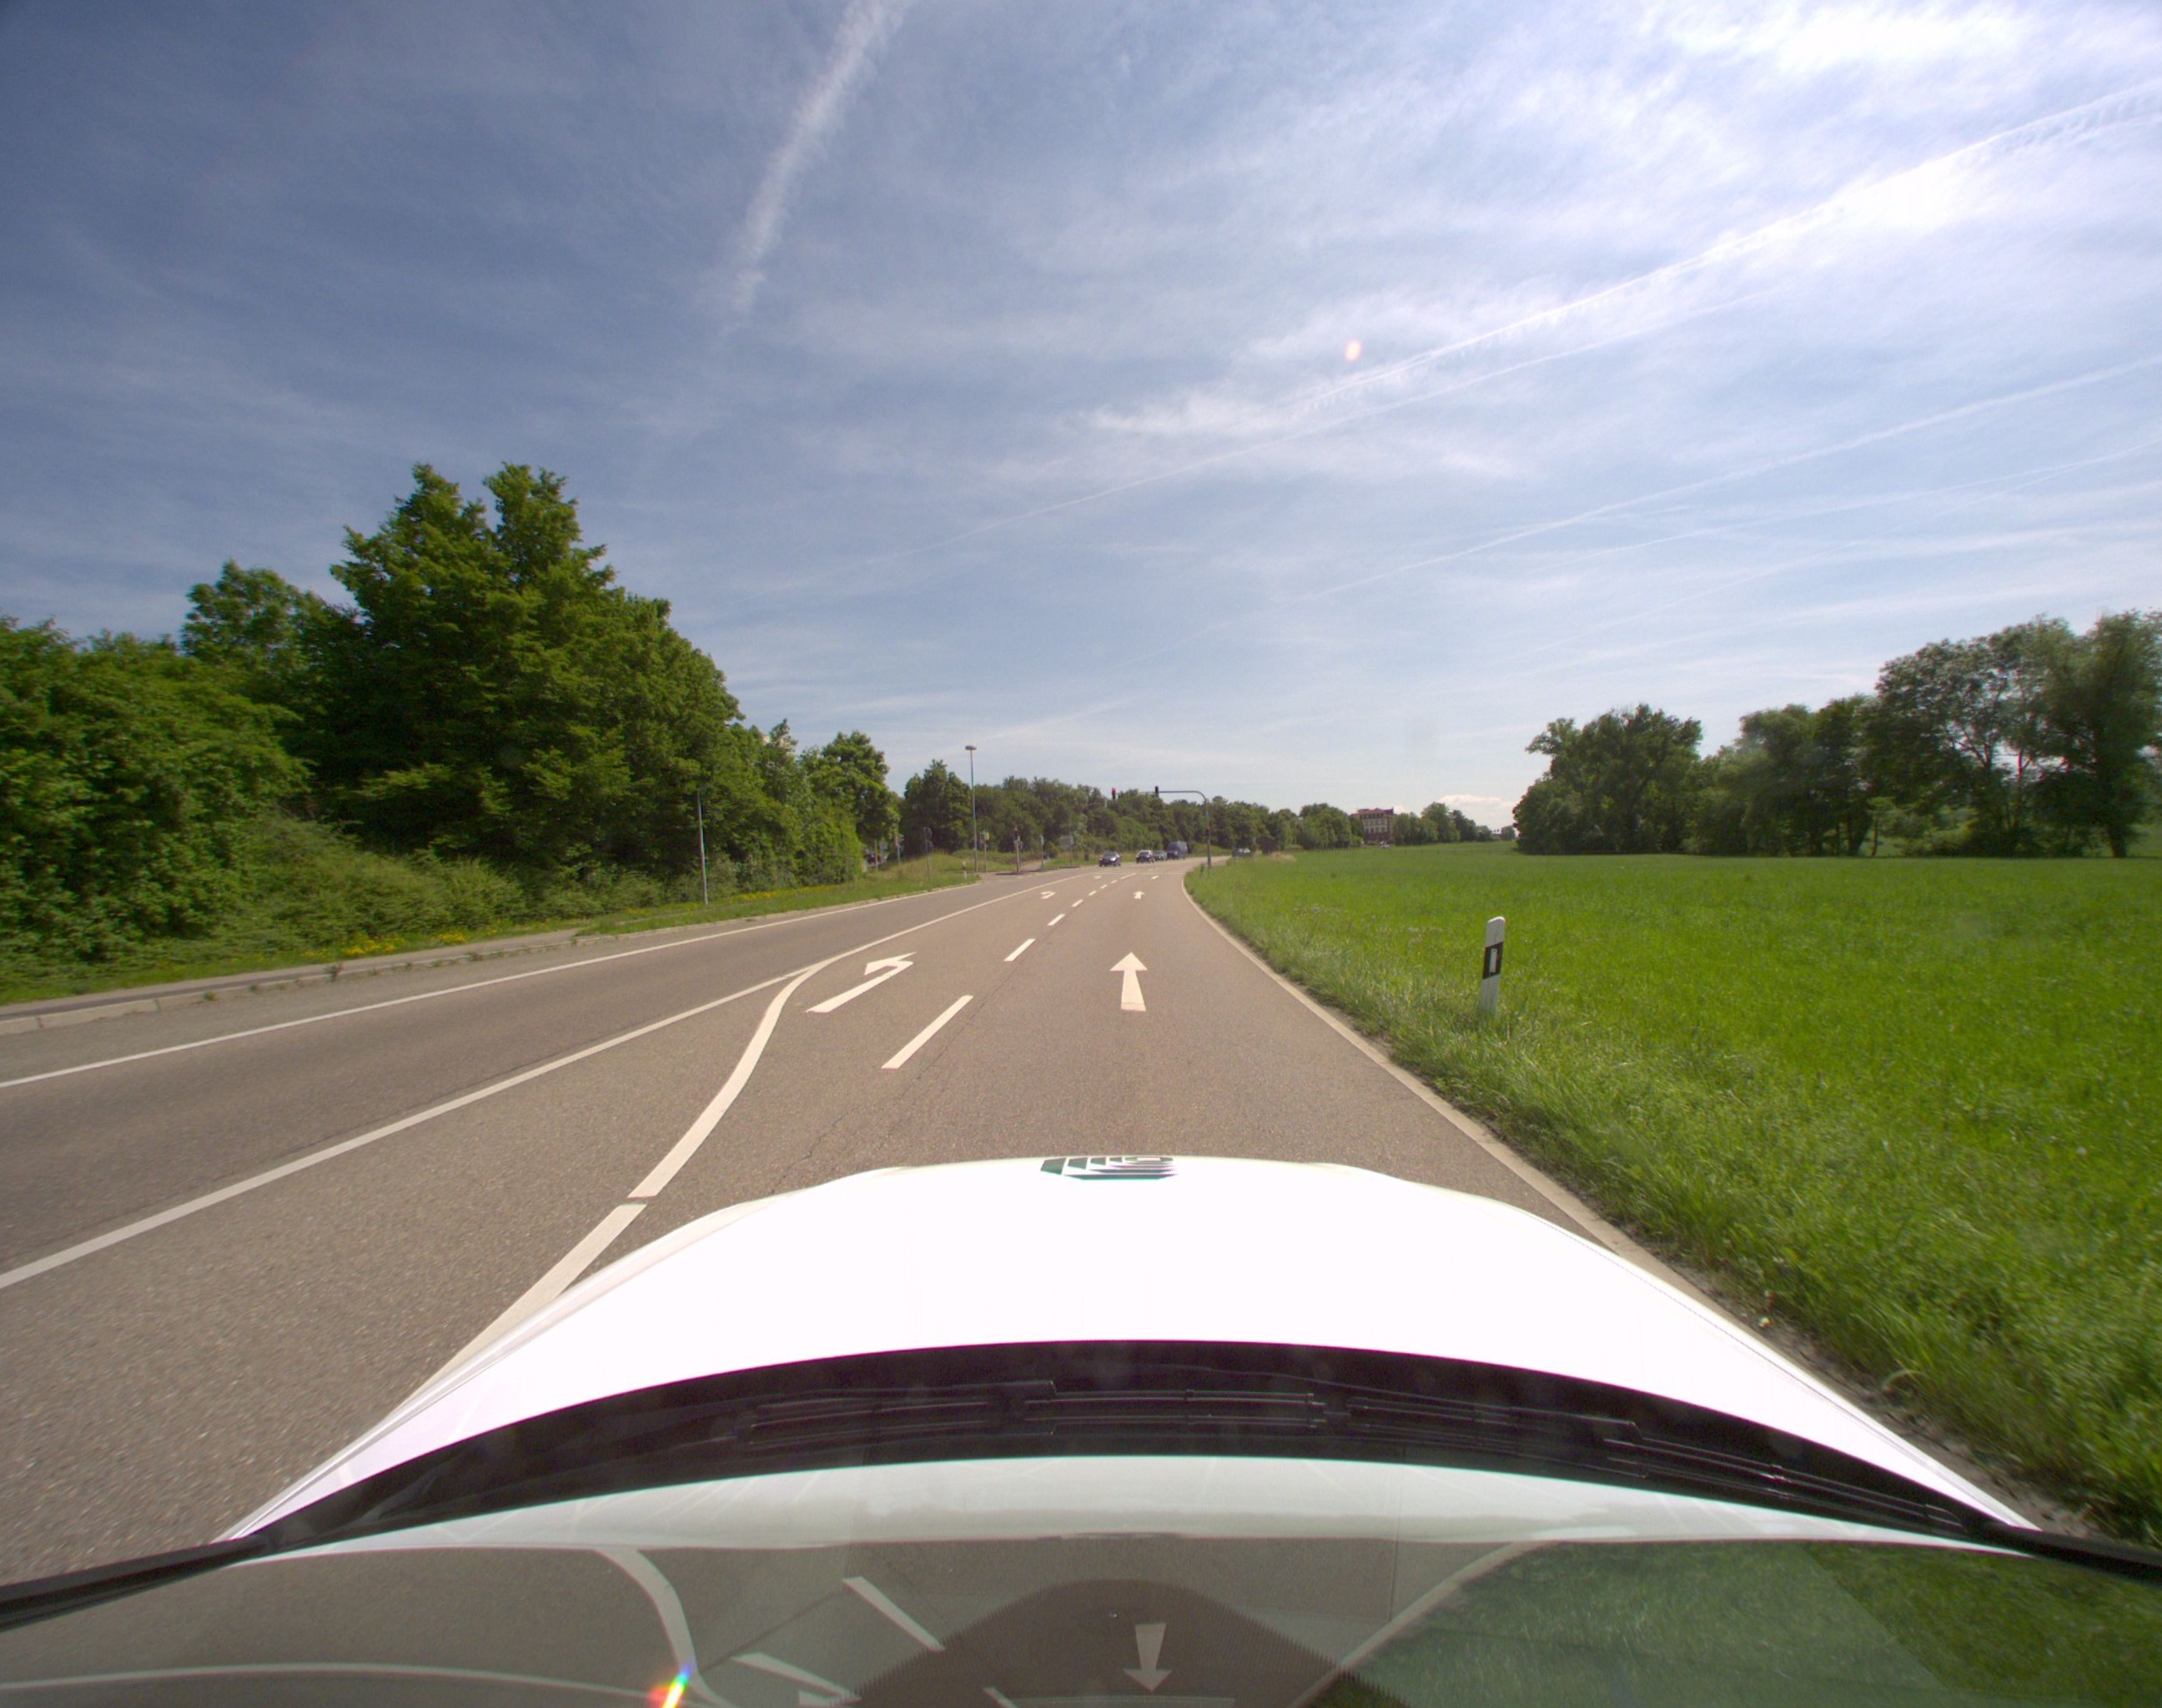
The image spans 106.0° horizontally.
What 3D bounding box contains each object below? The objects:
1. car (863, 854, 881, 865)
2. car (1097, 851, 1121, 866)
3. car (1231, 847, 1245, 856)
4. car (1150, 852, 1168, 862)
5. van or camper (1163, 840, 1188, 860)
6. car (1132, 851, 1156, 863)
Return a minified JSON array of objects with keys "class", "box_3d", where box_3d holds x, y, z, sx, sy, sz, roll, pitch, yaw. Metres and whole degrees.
[{"class":"car","box_3d":[-31.790,0.799,124.011,1.990,1.552,3.993,-1,0,-5]},{"class":"car","box_3d":[2.940,0.439,84.647,1.779,1.474,4.325,-1,0,12]},{"class":"car","box_3d":[28.472,-0.387,147.530,1.977,1.574,4.020,-1,0,19]},{"class":"car","box_3d":[11.199,0.419,116.312,1.693,1.483,3.850,-1,0,19]},{"class":"van or camper","box_3d":[15.024,-0.610,129.335,2.221,2.913,7.284,-1,1,20]},{"class":"car","box_3d":[7.999,0.373,103.005,1.958,1.562,4.209,-1,0,19]}]
